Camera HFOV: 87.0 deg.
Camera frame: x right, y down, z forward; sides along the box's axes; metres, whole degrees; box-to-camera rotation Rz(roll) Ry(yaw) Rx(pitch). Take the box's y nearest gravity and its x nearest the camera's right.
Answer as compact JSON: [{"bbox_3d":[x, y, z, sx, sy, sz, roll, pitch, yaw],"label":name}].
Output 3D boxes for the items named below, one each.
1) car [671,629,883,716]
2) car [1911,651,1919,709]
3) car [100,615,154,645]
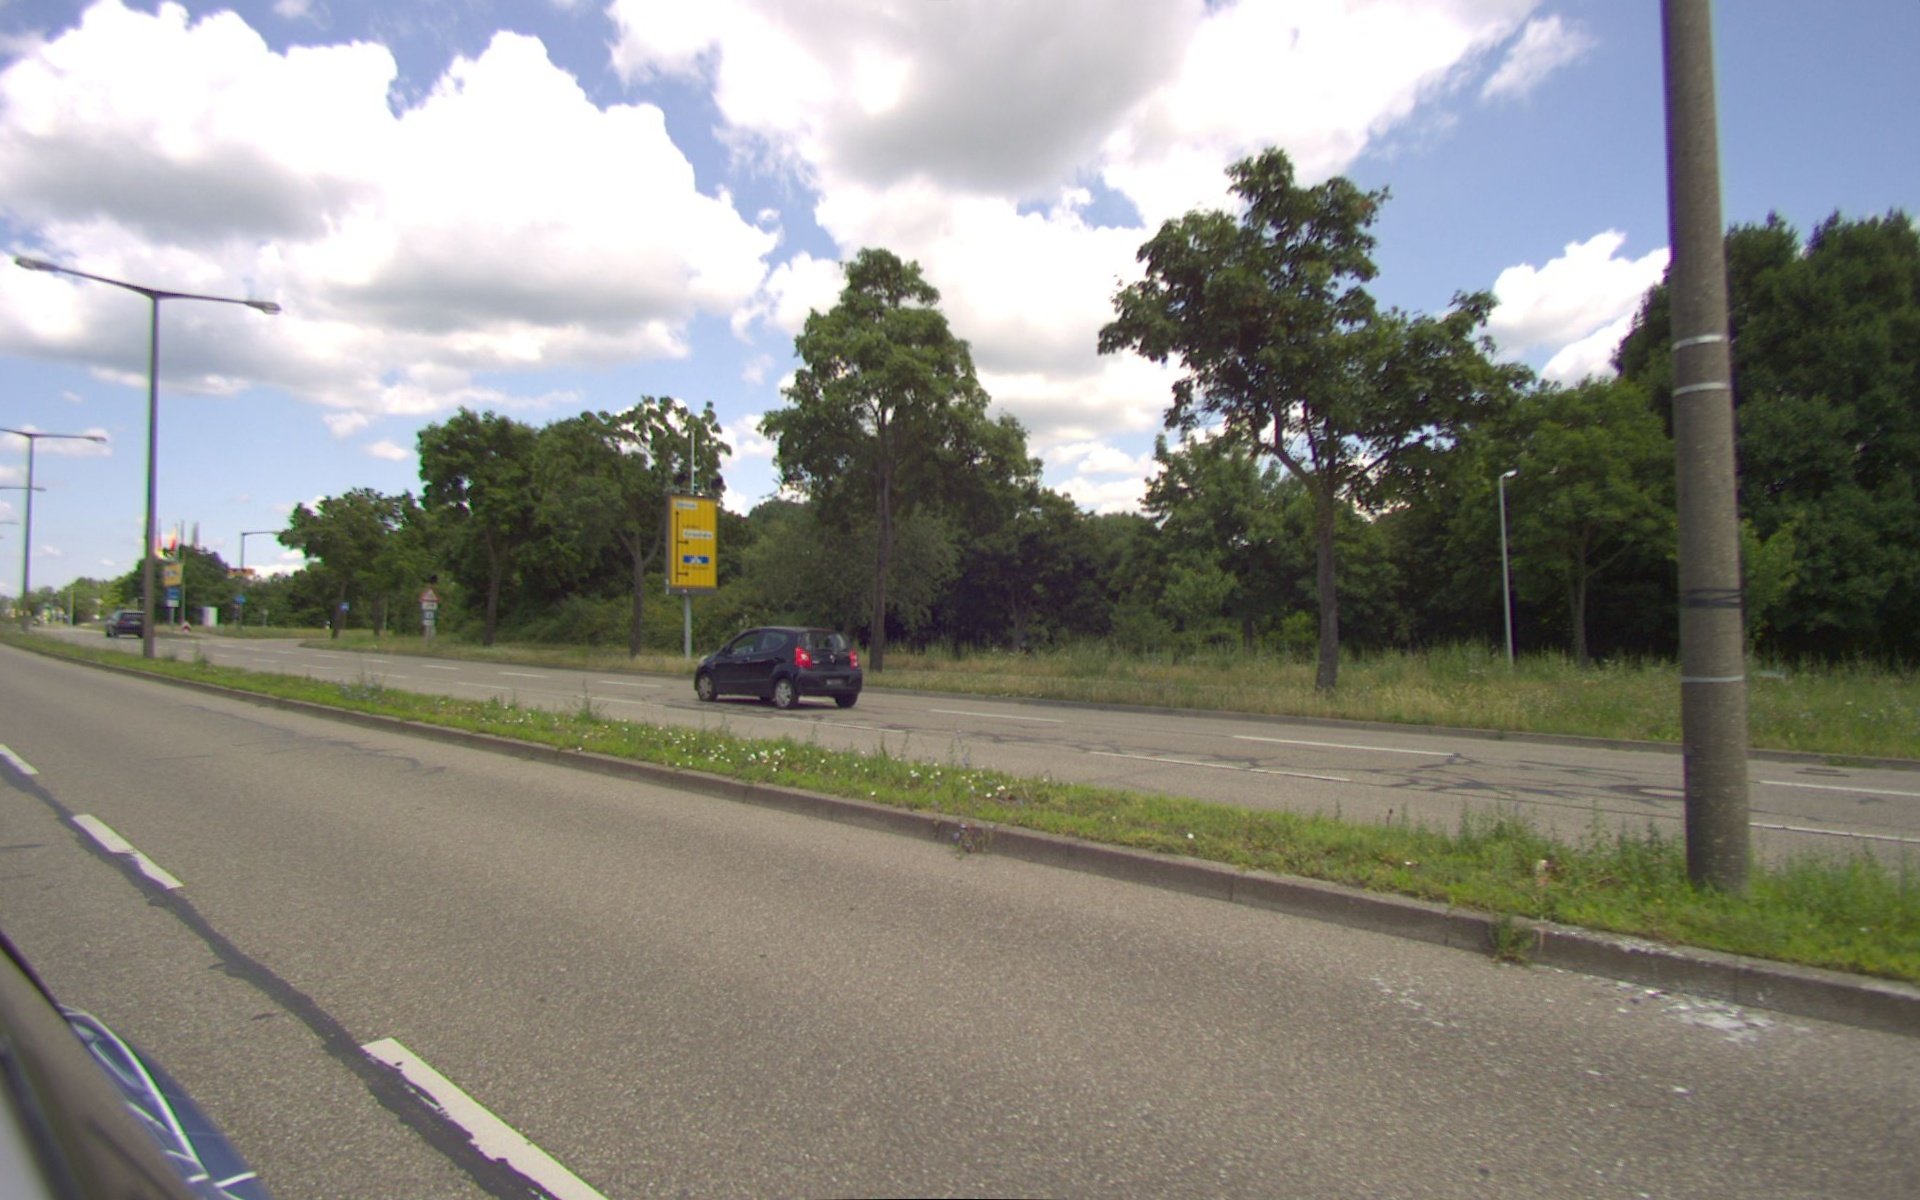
[{"bbox_3d":[-3.398,1.274,18.675,3.662,1.438,1.688,-1,-2,32],"label":"car"},{"bbox_3d":[26.337,2.160,26.248,1.997,1.530,3.949,-3,-2,38],"label":"car"},{"bbox_3d":[-53.345,1.904,64.770,4.726,1.804,1.857,-1,-4,41],"label":"car"}]
